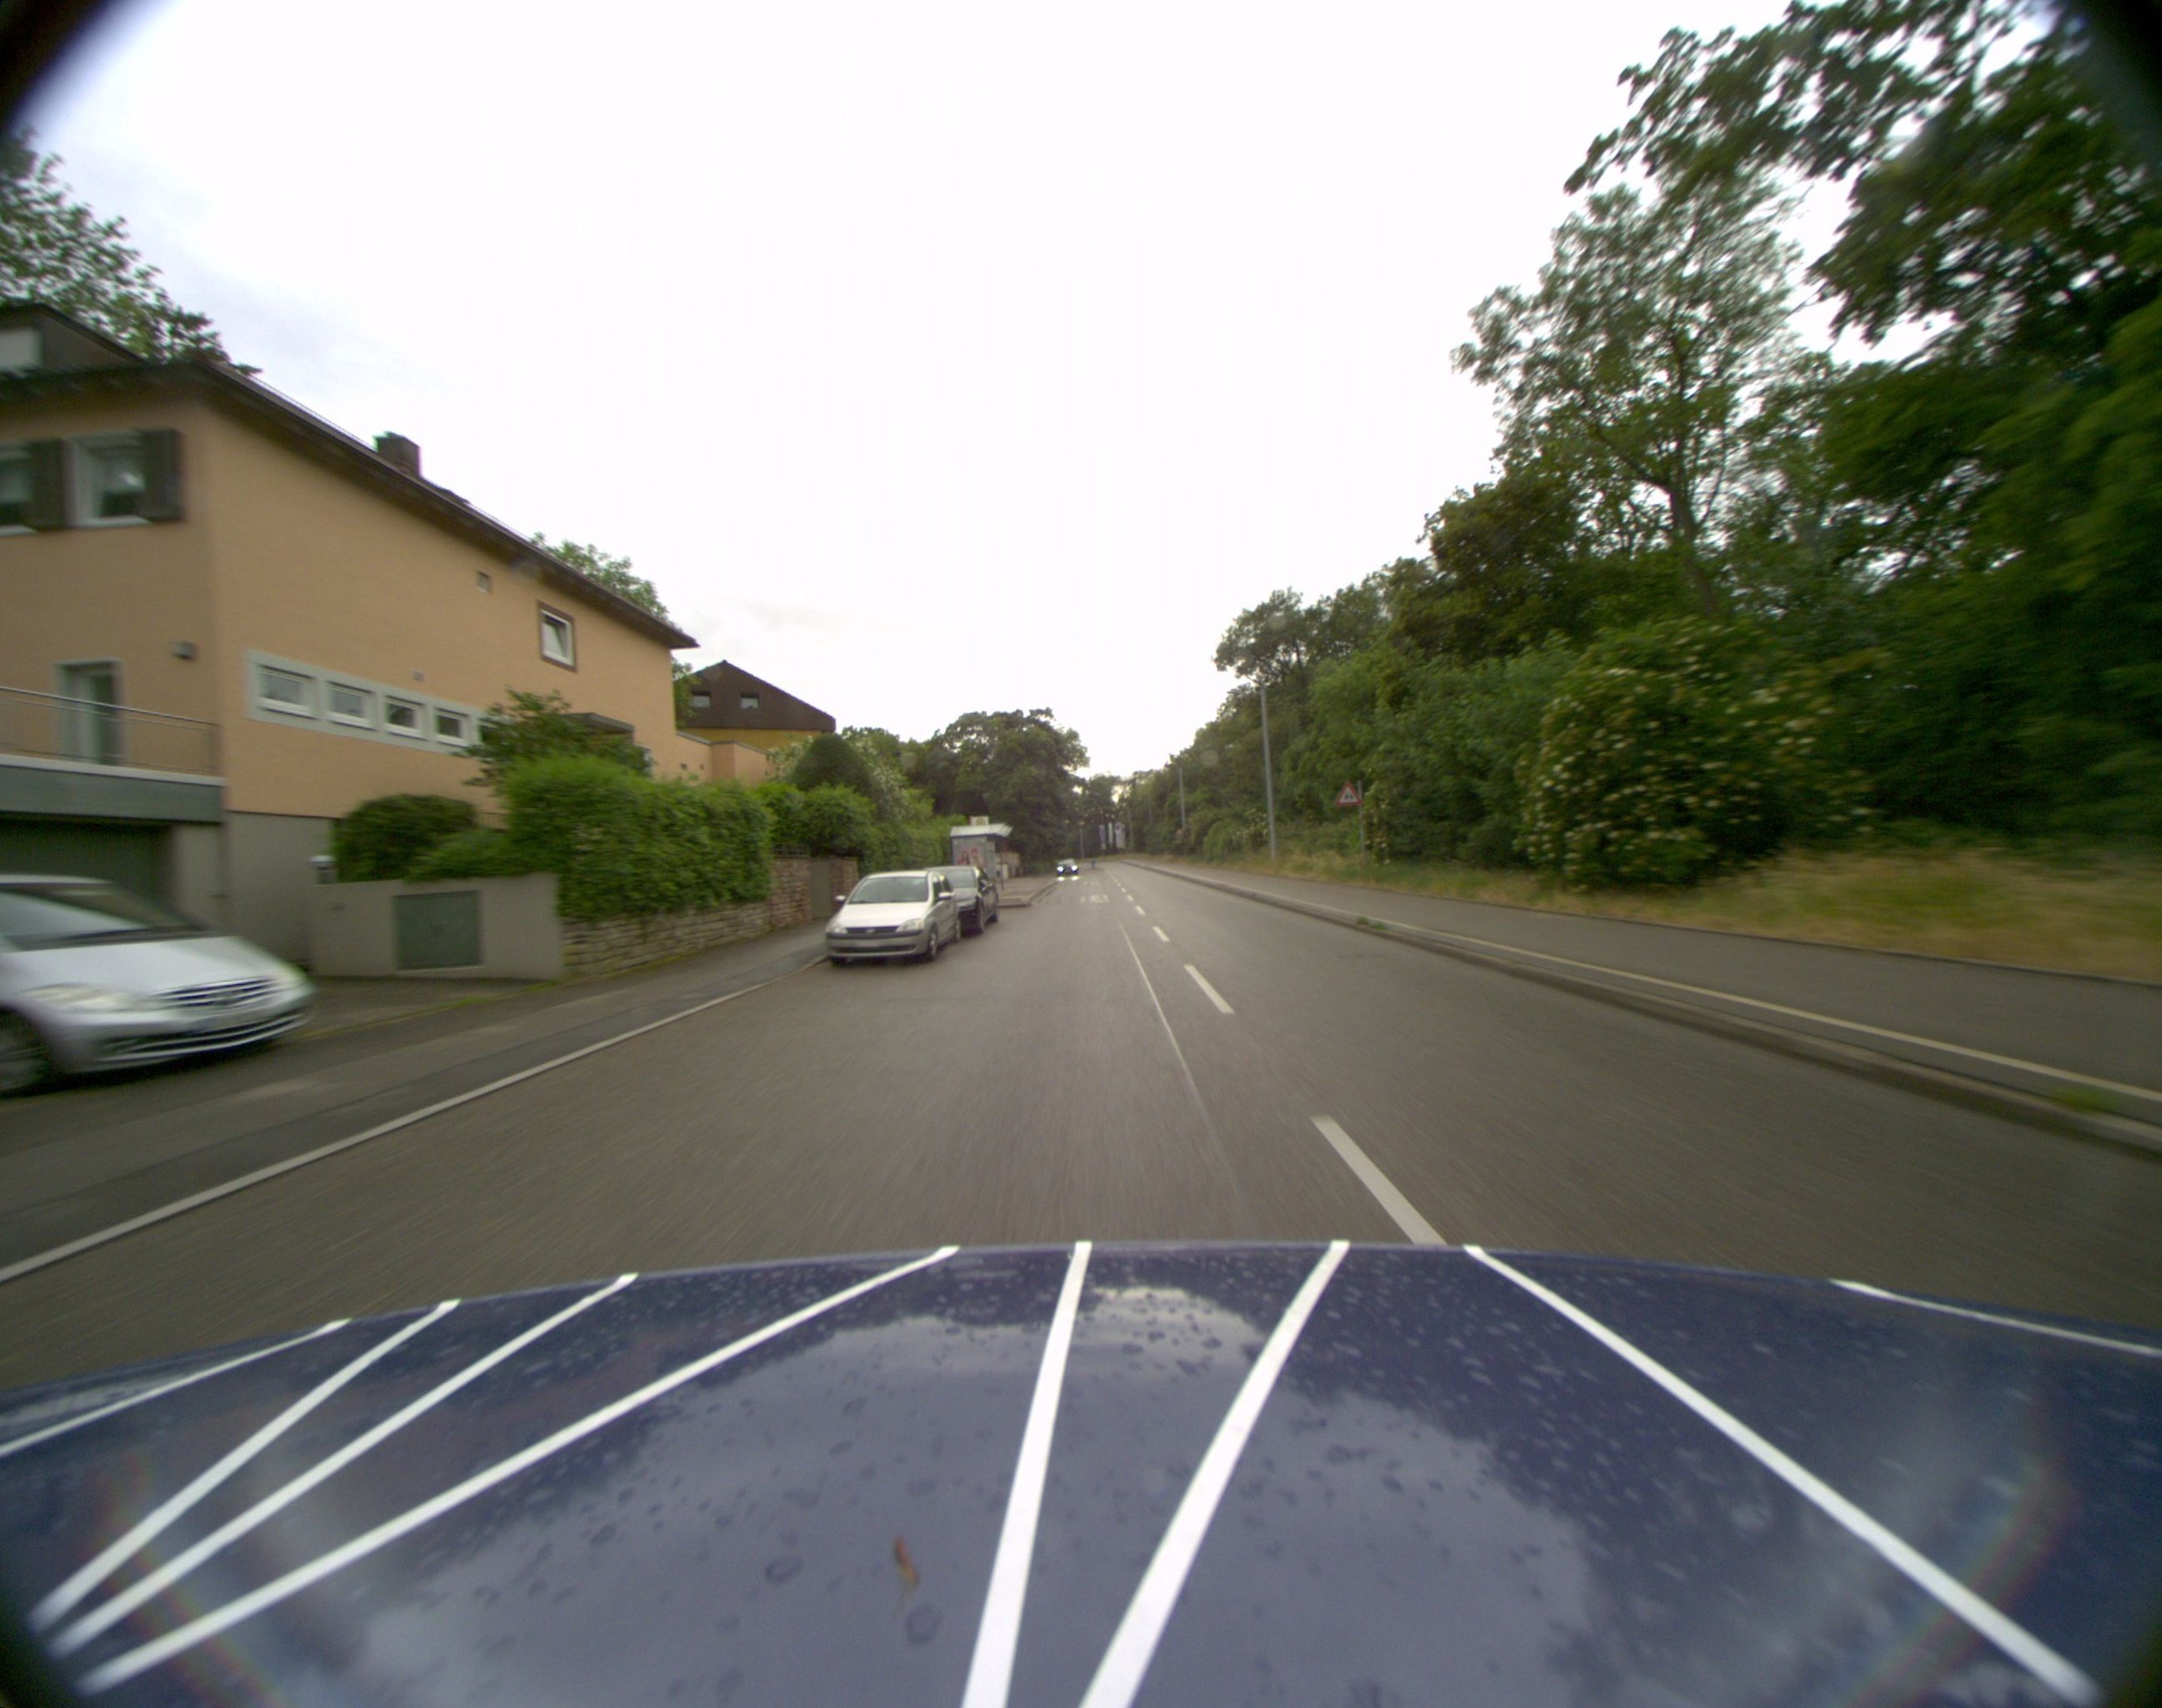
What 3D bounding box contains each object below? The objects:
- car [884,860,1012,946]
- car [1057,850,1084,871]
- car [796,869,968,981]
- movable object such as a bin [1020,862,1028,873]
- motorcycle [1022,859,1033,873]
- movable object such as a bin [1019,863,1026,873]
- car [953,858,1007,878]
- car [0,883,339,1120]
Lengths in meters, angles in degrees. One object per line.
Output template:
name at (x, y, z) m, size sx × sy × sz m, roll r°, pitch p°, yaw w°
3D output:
car at (-2.867, 0.998, 17.478) m, size 1.834 × 1.538 × 4.630 m, roll -2°, pitch 1°, yaw 3°
car at (-0.874, 0.555, 65.597) m, size 1.998 × 1.714 × 4.001 m, roll -2°, pitch 0°, yaw 4°
car at (-3.179, 1.071, 13.029) m, size 1.817 × 1.390 × 4.101 m, roll -2°, pitch 1°, yaw 0°
movable object such as a bin at (-5.554, 1.319, 73.863) m, size 0.666 × 0.999 × 0.659 m, roll -5°, pitch 0°, yaw 2°
motorcycle at (-5.299, 1.171, 75.455) m, size 0.777 × 1.237 × 2.013 m, roll -5°, pitch 0°, yaw 2°
movable object such as a bin at (-5.635, 1.373, 73.123) m, size 0.570 × 0.931 × 0.549 m, roll -5°, pitch 1°, yaw 2°
car at (-8.575, 1.214, 64.733) m, size 4.228 × 1.498 × 1.895 m, roll -2°, pitch 0°, yaw 1°
car at (-8.666, 1.037, 6.049) m, size 3.667 × 1.527 × 1.828 m, roll 1°, pitch 0°, yaw -2°
